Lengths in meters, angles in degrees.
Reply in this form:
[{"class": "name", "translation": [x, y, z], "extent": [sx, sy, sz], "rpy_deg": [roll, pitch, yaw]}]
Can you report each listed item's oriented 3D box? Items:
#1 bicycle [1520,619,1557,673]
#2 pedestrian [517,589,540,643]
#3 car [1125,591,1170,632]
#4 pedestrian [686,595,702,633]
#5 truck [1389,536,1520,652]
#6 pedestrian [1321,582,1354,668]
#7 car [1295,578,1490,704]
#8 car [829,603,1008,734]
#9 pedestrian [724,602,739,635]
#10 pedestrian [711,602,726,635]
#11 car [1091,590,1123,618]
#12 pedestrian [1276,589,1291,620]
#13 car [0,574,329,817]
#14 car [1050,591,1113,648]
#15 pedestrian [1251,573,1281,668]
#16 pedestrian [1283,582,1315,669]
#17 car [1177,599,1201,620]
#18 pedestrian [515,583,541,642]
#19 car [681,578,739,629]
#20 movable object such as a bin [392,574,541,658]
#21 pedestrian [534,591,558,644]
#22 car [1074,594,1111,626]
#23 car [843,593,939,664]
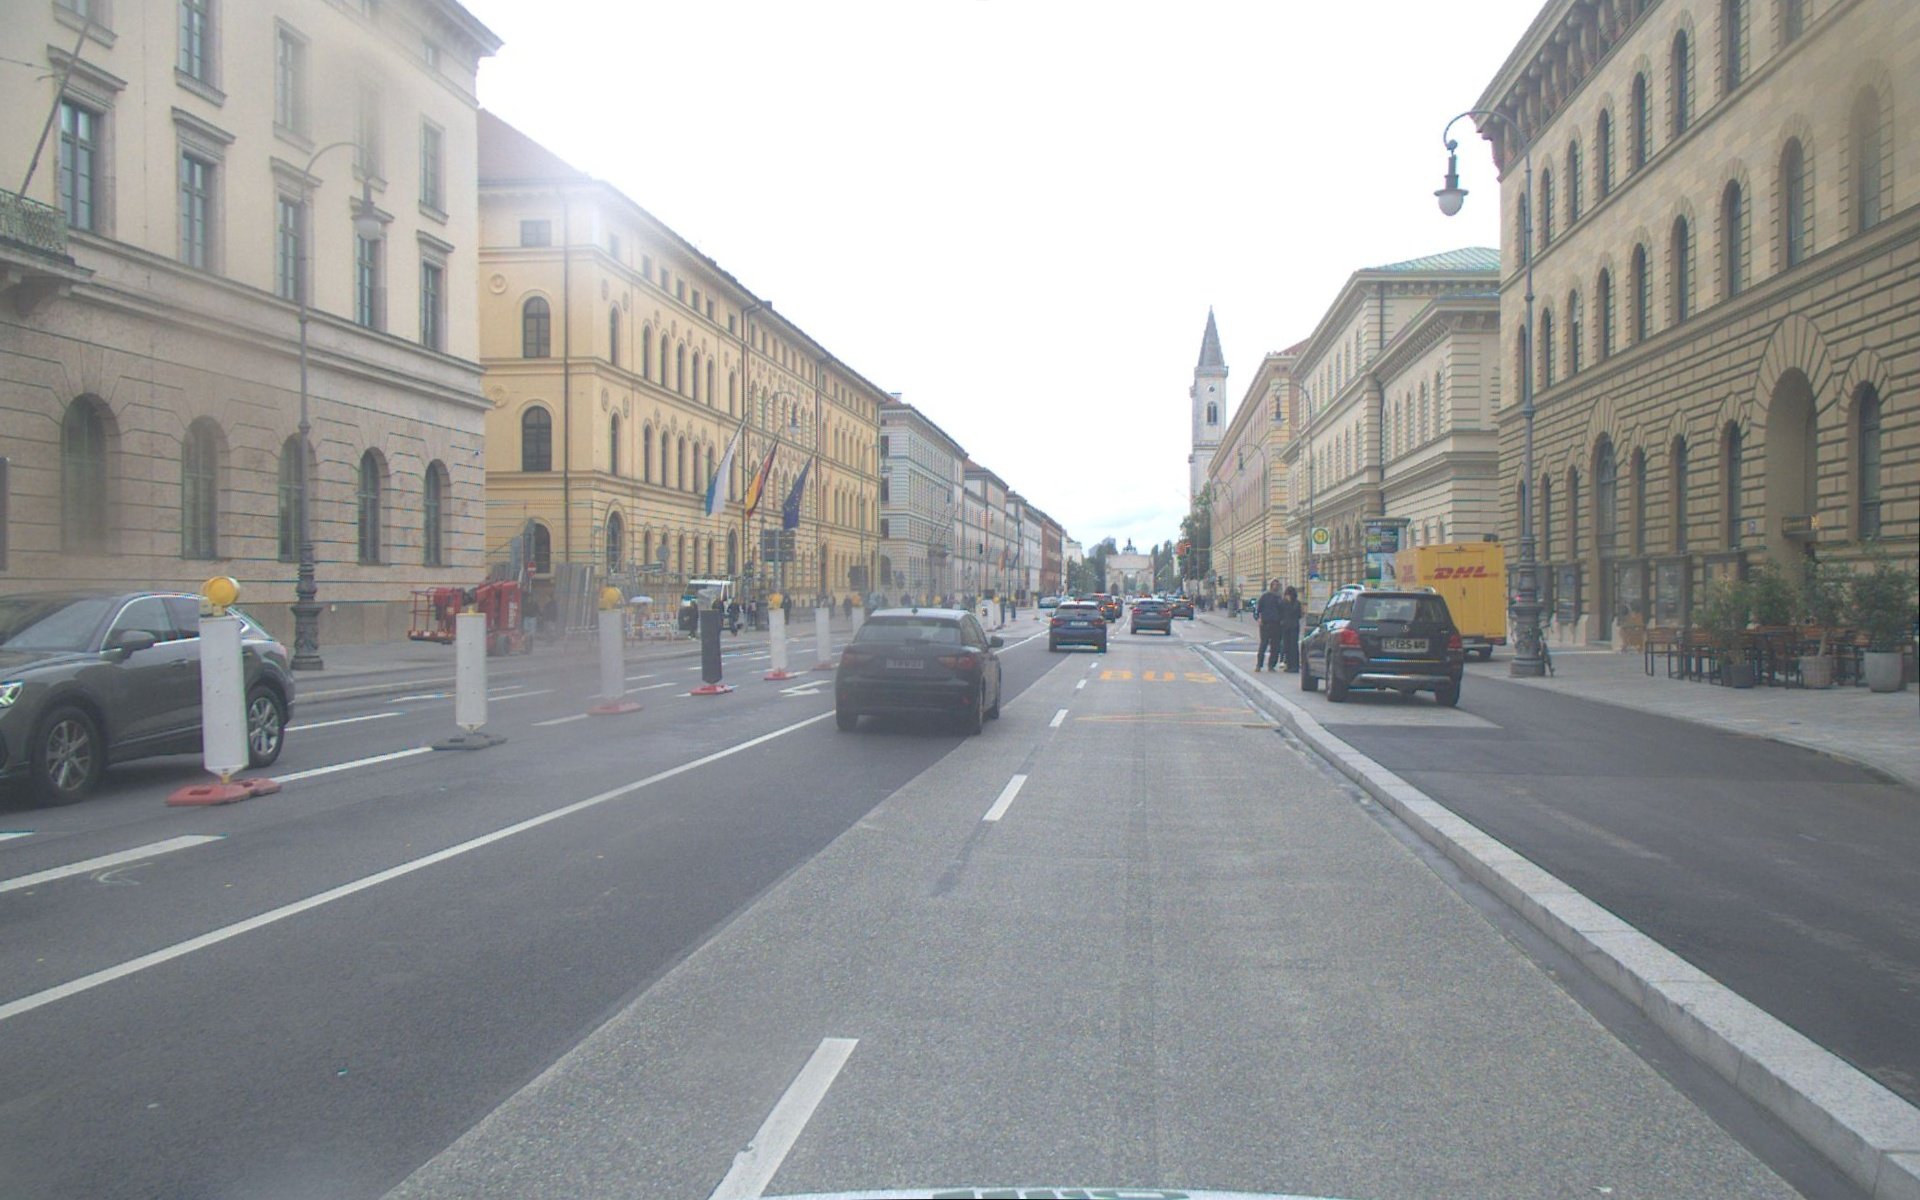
[{"class": "bicycle", "translation": [11.458, 0.898, 32.797], "extent": [0.507, 1.040, 1.651], "rpy_deg": [0, -1, 13]}, {"class": "pedestrian", "translation": [-13.863, 0.521, 53.093], "extent": [0.541, 1.705, 0.618], "rpy_deg": [0, -1, 3]}, {"class": "car", "translation": [8.501, 0.515, 75.015], "extent": [1.951, 1.803, 4.003], "rpy_deg": [0, 0, 7]}, {"class": "pedestrian", "translation": [-10.825, 0.582, 67.299], "extent": [0.541, 1.557, 0.618], "rpy_deg": [0, -1, 3]}, {"class": "truck", "translation": [12.726, -0.095, 42.983], "extent": [2.566, 2.813, 5.811], "rpy_deg": [0, -1, 10]}, {"class": "pedestrian", "translation": [7.681, 0.516, 33.666], "extent": [0.602, 1.732, 0.542], "rpy_deg": [0, -1, 9]}, {"class": "car", "translation": [6.322, 0.557, 24.668], "extent": [2.025, 1.691, 4.224], "rpy_deg": [1, 0, 4]}, {"class": "car", "translation": [-0.405, 0.754, 20.286], "extent": [1.824, 1.412, 4.002], "rpy_deg": [1, 0, 4]}, {"class": "pedestrian", "translation": [-9.918, 0.812, 71.738], "extent": [0.528, 1.435, 0.618], "rpy_deg": [0, -1, 3]}, {"class": "pedestrian", "translation": [-10.487, 0.787, 71.815], "extent": [0.528, 1.431, 0.618], "rpy_deg": [0, -1, 3]}, {"class": "car", "translation": [9.608, 0.256, 108.135], "extent": [1.951, 1.803, 4.003], "rpy_deg": [0, 0, 7]}, {"class": "pedestrian", "translation": [17.963, 0.267, 91.903], "extent": [0.780, 1.720, 0.801], "rpy_deg": [0, -1, 7]}, {"class": "car", "translation": [-6.955, 0.654, 13.093], "extent": [1.748, 1.594, 4.579], "rpy_deg": [-2, 0, 6]}, {"class": "car", "translation": [3.710, 0.608, 49.888], "extent": [1.731, 1.645, 4.003], "rpy_deg": [0, -1, 7]}, {"class": "pedestrian", "translation": [6.214, 0.419, 33.573], "extent": [0.602, 1.908, 0.542], "rpy_deg": [0, -1, 10]}, {"class": "pedestrian", "translation": [6.850, 0.513, 33.452], "extent": [0.602, 1.732, 0.542], "rpy_deg": [0, -1, 9]}, {"class": "car", "translation": [18.633, 0.782, 134.559], "extent": [1.820, 1.606, 4.003], "rpy_deg": [0, -1, 7]}, {"class": "pedestrian", "translation": [-14.655, 0.425, 56.088], "extent": [0.665, 1.965, 0.652], "rpy_deg": [0, -1, 3]}, {"class": "car", "translation": [-11.672, 0.193, 77.452], "extent": [1.701, 2.329, 4.003], "rpy_deg": [0, -1, 7]}, {"class": "movable object such as a bin", "translation": [-12.782, 0.439, 43.297], "extent": [1.479, 2.049, 5.979], "rpy_deg": [0, -1, 7]}, {"class": "pedestrian", "translation": [-13.281, 0.564, 53.063], "extent": [0.599, 1.681, 0.618], "rpy_deg": [0, -1, 3]}, {"class": "car", "translation": [7.612, 0.560, 94.861], "extent": [1.951, 1.803, 4.003], "rpy_deg": [0, 0, 7]}, {"class": "car", "translation": [-1.642, 0.696, 40.635], "extent": [1.731, 1.645, 4.003], "rpy_deg": [0, -1, 7]}]
